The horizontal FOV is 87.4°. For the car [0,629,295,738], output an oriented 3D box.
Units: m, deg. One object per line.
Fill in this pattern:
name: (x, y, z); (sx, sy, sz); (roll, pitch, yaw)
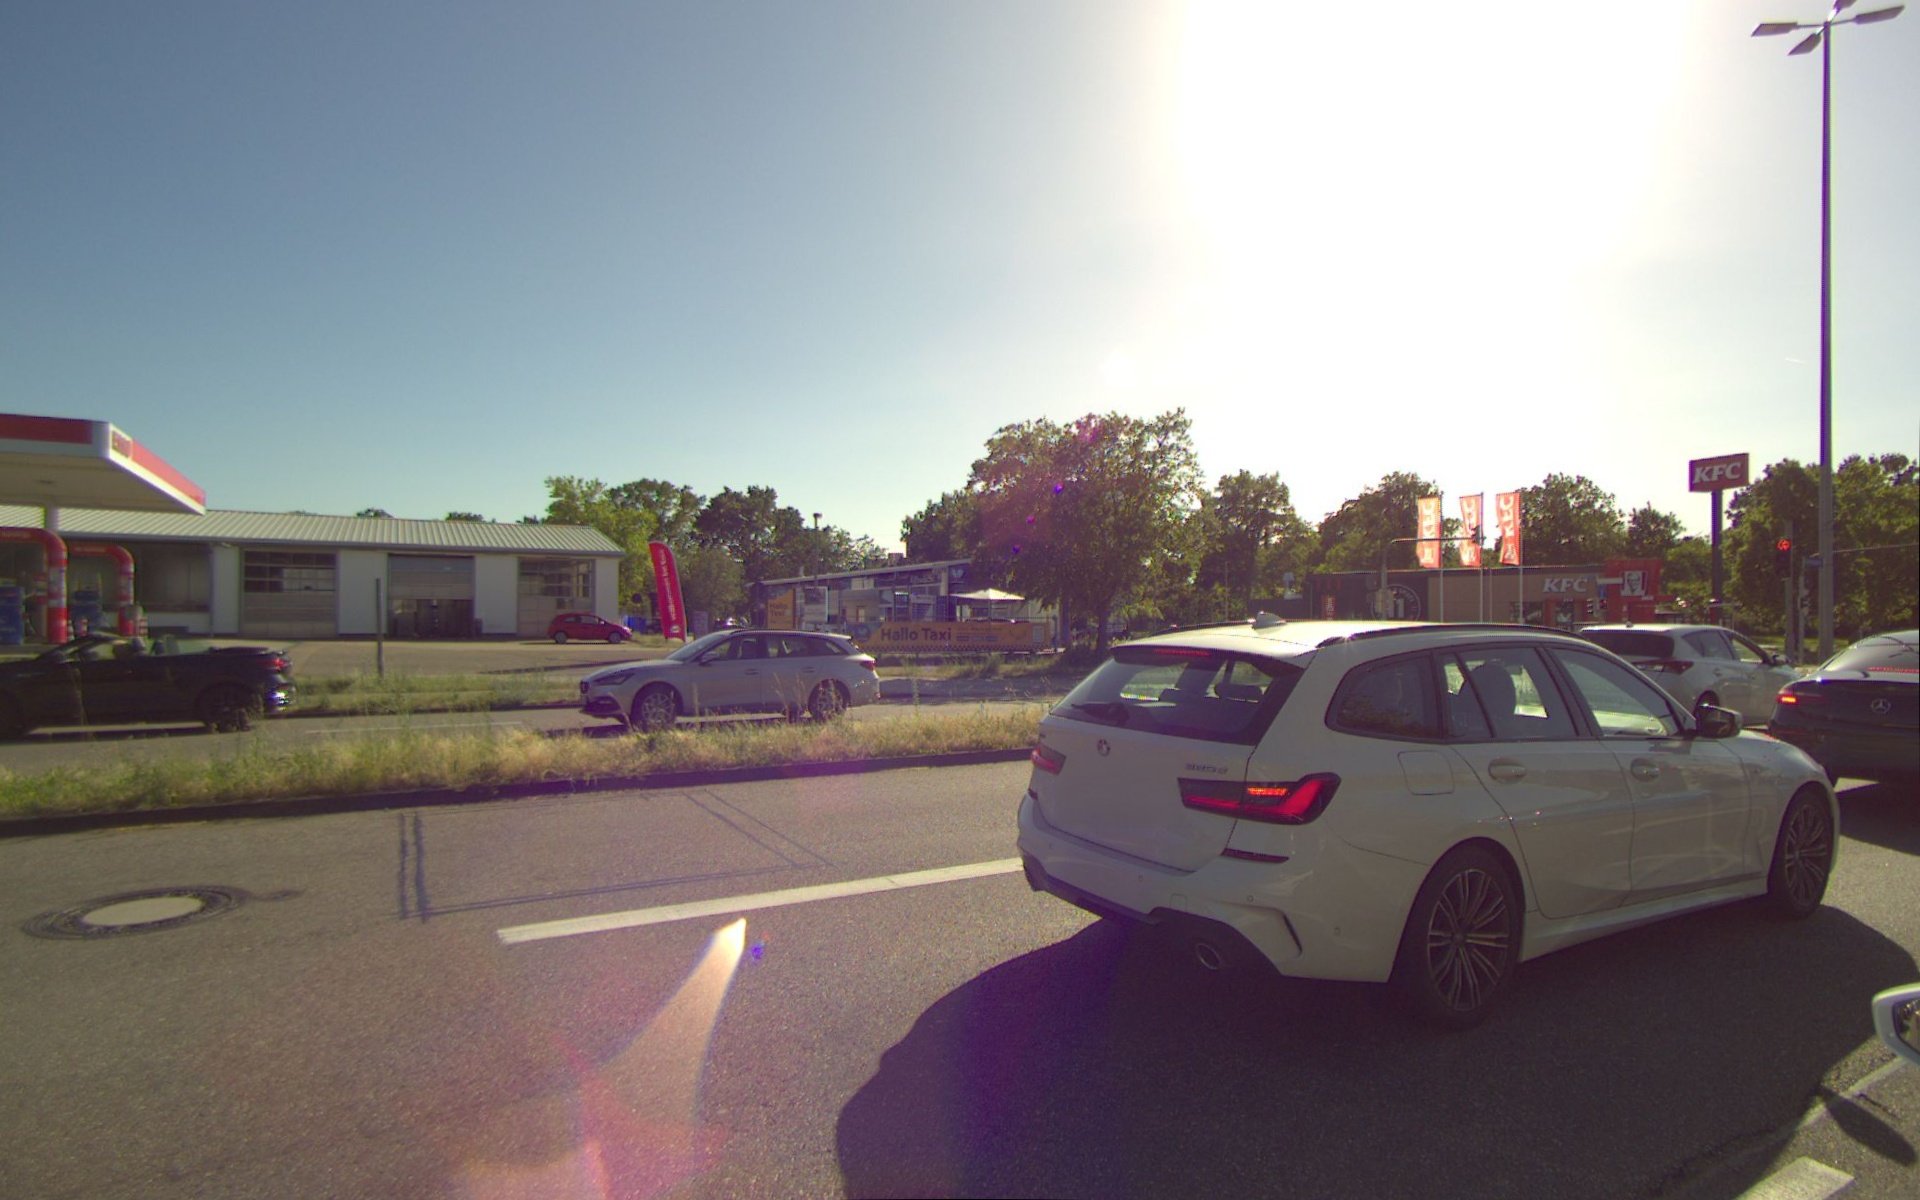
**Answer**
car: (-12.097, 1.170, 14.598); (3.933, 1.428, 1.750); (2, -4, -31)

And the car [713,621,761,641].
car: (-19.405, 2.717, 87.626); (3.929, 1.634, 1.996); (2, 0, -11)

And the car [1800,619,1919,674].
car: (26.869, 1.319, 28.441); (1.742, 1.510, 4.395); (1, -3, -28)

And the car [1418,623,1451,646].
car: (33.923, 2.457, 71.946); (1.629, 1.491, 3.919); (2, 0, 18)

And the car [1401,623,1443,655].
car: (28.333, 2.344, 61.518); (1.964, 1.788, 4.349); (2, 0, 29)

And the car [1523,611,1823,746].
car: (9.545, 0.966, 13.378); (4.150, 1.510, 1.750); (2, 0, -31)

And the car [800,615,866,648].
car: (-6.756, 1.645, 53.080); (1.978, 1.584, 3.964); (2, 0, -32)

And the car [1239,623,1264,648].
car: (21.800, 2.622, 75.151); (1.629, 1.695, 3.945); (2, 0, 18)

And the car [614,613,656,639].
car: (-19.342, 1.542, 59.732); (1.634, 1.383, 3.744); (2, 0, -29)

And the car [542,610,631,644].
car: (-18.357, 1.332, 49.402); (3.946, 1.537, 1.772); (2, 0, -25)

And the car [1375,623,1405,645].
car: (31.291, 2.447, 73.219); (1.629, 1.491, 3.919); (2, 0, 18)

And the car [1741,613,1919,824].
car: (8.767, 0.932, 8.635); (4.425, 1.510, 1.787); (2, 0, -31)

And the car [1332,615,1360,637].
car: (28.279, 1.895, 73.654); (1.629, 1.491, 3.919); (2, 0, 18)

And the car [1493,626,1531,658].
car: (33.079, 2.476, 60.201); (1.880, 1.776, 4.349); (2, 0, 29)

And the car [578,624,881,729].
car: (-3.496, 1.139, 15.531); (4.257, 1.428, 1.720); (2, -4, -32)

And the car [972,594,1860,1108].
car: (2.376, 0.798, 4.872); (4.353, 1.510, 1.776); (2, 0, -31)
